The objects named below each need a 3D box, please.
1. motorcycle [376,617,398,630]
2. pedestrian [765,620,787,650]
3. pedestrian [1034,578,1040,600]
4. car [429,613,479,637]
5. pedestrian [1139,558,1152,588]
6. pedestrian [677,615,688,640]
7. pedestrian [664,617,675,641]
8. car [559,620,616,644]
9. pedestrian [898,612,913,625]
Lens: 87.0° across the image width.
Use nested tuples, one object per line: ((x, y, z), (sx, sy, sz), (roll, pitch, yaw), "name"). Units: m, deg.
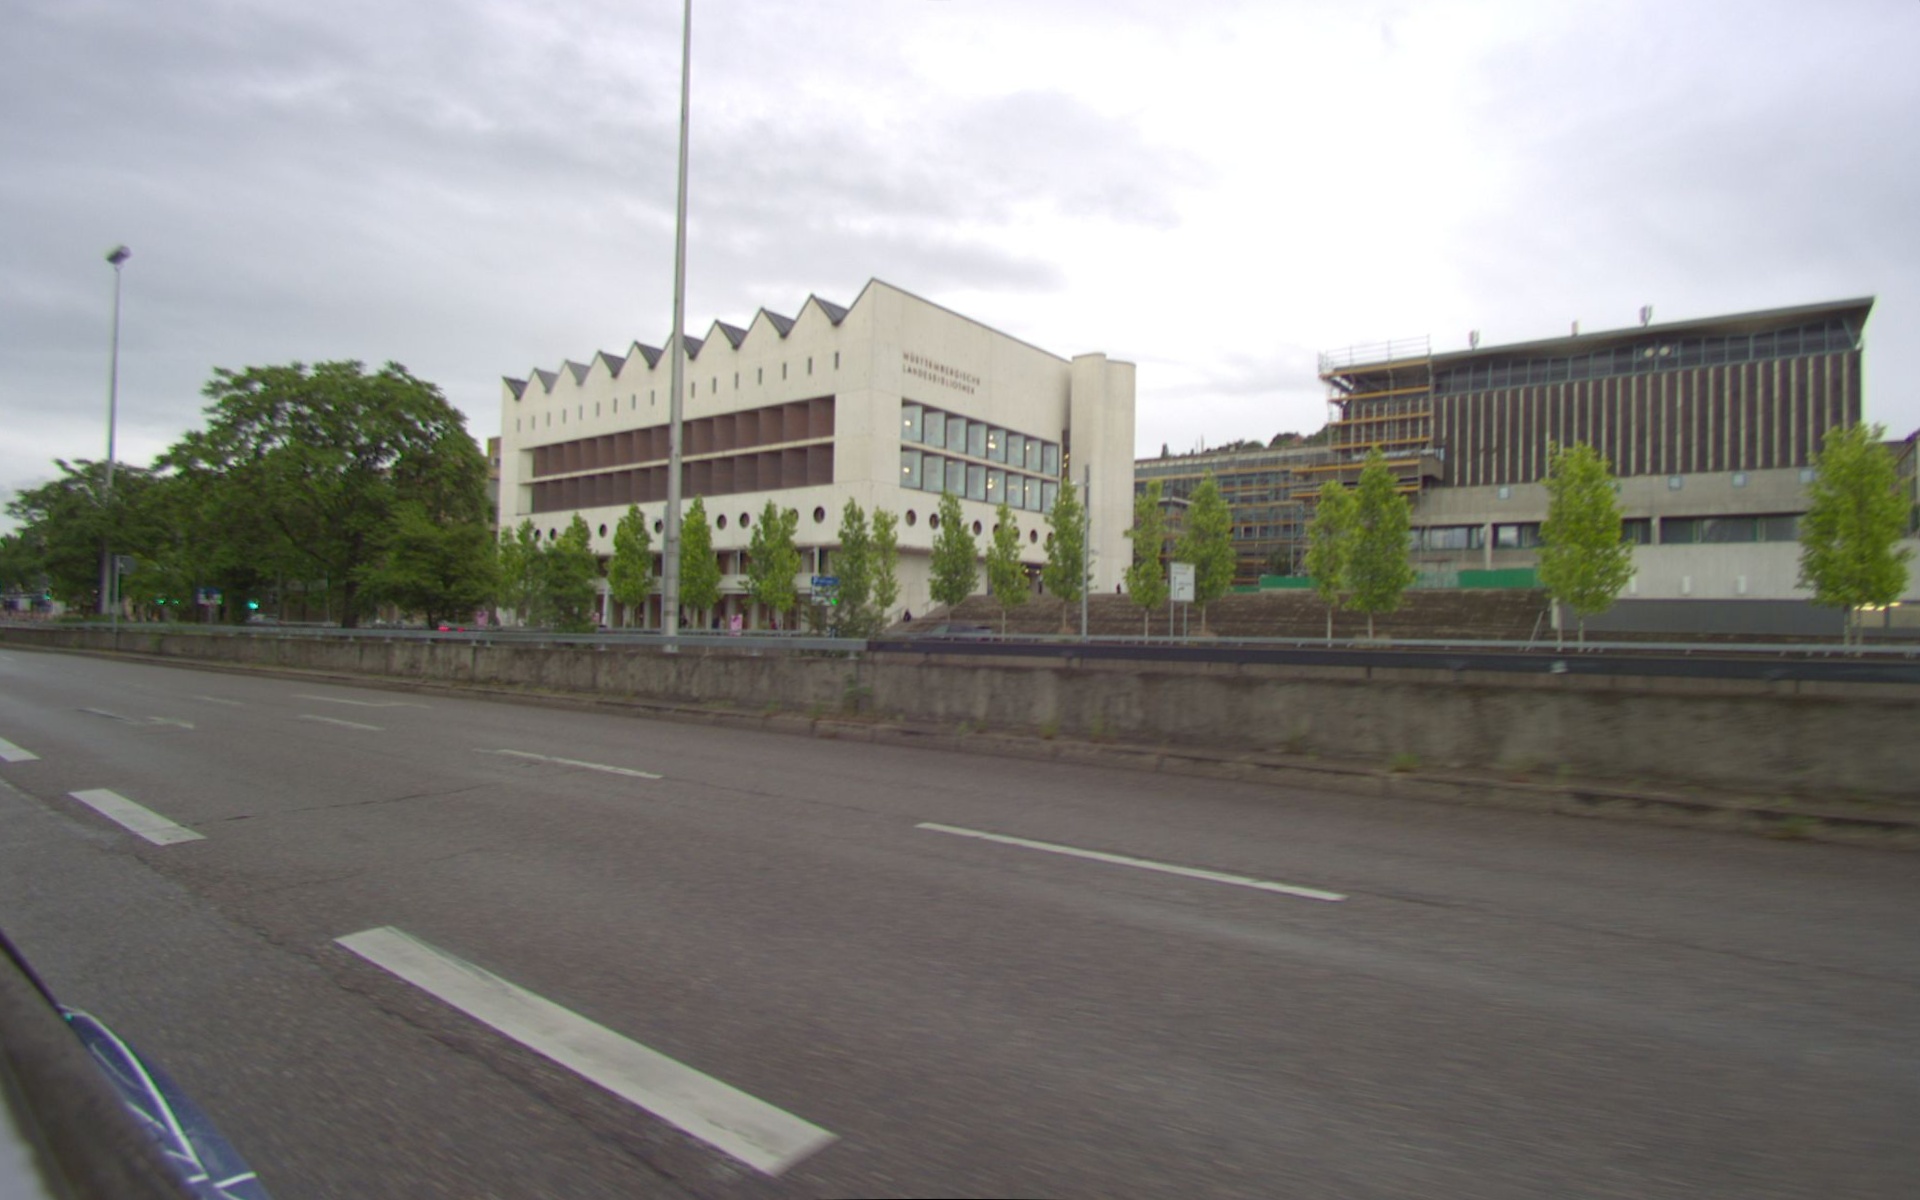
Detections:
((-52.275, 2.119, 92.350), (0.603, 1.191, 1.801), (0, 0, 25), "motorcycle")
((-11.712, 2.204, 64.452), (0.827, 1.880, 1.077), (0, 0, 33), "pedestrian")
((5.491, -0.777, 72.040), (0.314, 1.585, 0.309), (0, 0, 30), "pedestrian")
((-34.603, 1.693, 69.164), (3.469, 1.567, 1.679), (0, 0, 36), "car")
((12.808, -1.850, 69.760), (0.639, 2.029, 0.598), (0, 0, 42), "pedestrian")
((-21.592, 2.126, 78.698), (0.728, 1.873, 0.703), (0, 0, -9), "pedestrian")
((-22.574, 2.246, 78.551), (0.728, 1.873, 0.703), (0, 0, -9), "pedestrian")
((-21.479, 1.819, 58.256), (3.539, 1.236, 1.549), (0, 0, 40), "car")
((-3.798, 1.280, 70.573), (0.628, 0.894, 0.798), (0, 0, 40), "pedestrian")
